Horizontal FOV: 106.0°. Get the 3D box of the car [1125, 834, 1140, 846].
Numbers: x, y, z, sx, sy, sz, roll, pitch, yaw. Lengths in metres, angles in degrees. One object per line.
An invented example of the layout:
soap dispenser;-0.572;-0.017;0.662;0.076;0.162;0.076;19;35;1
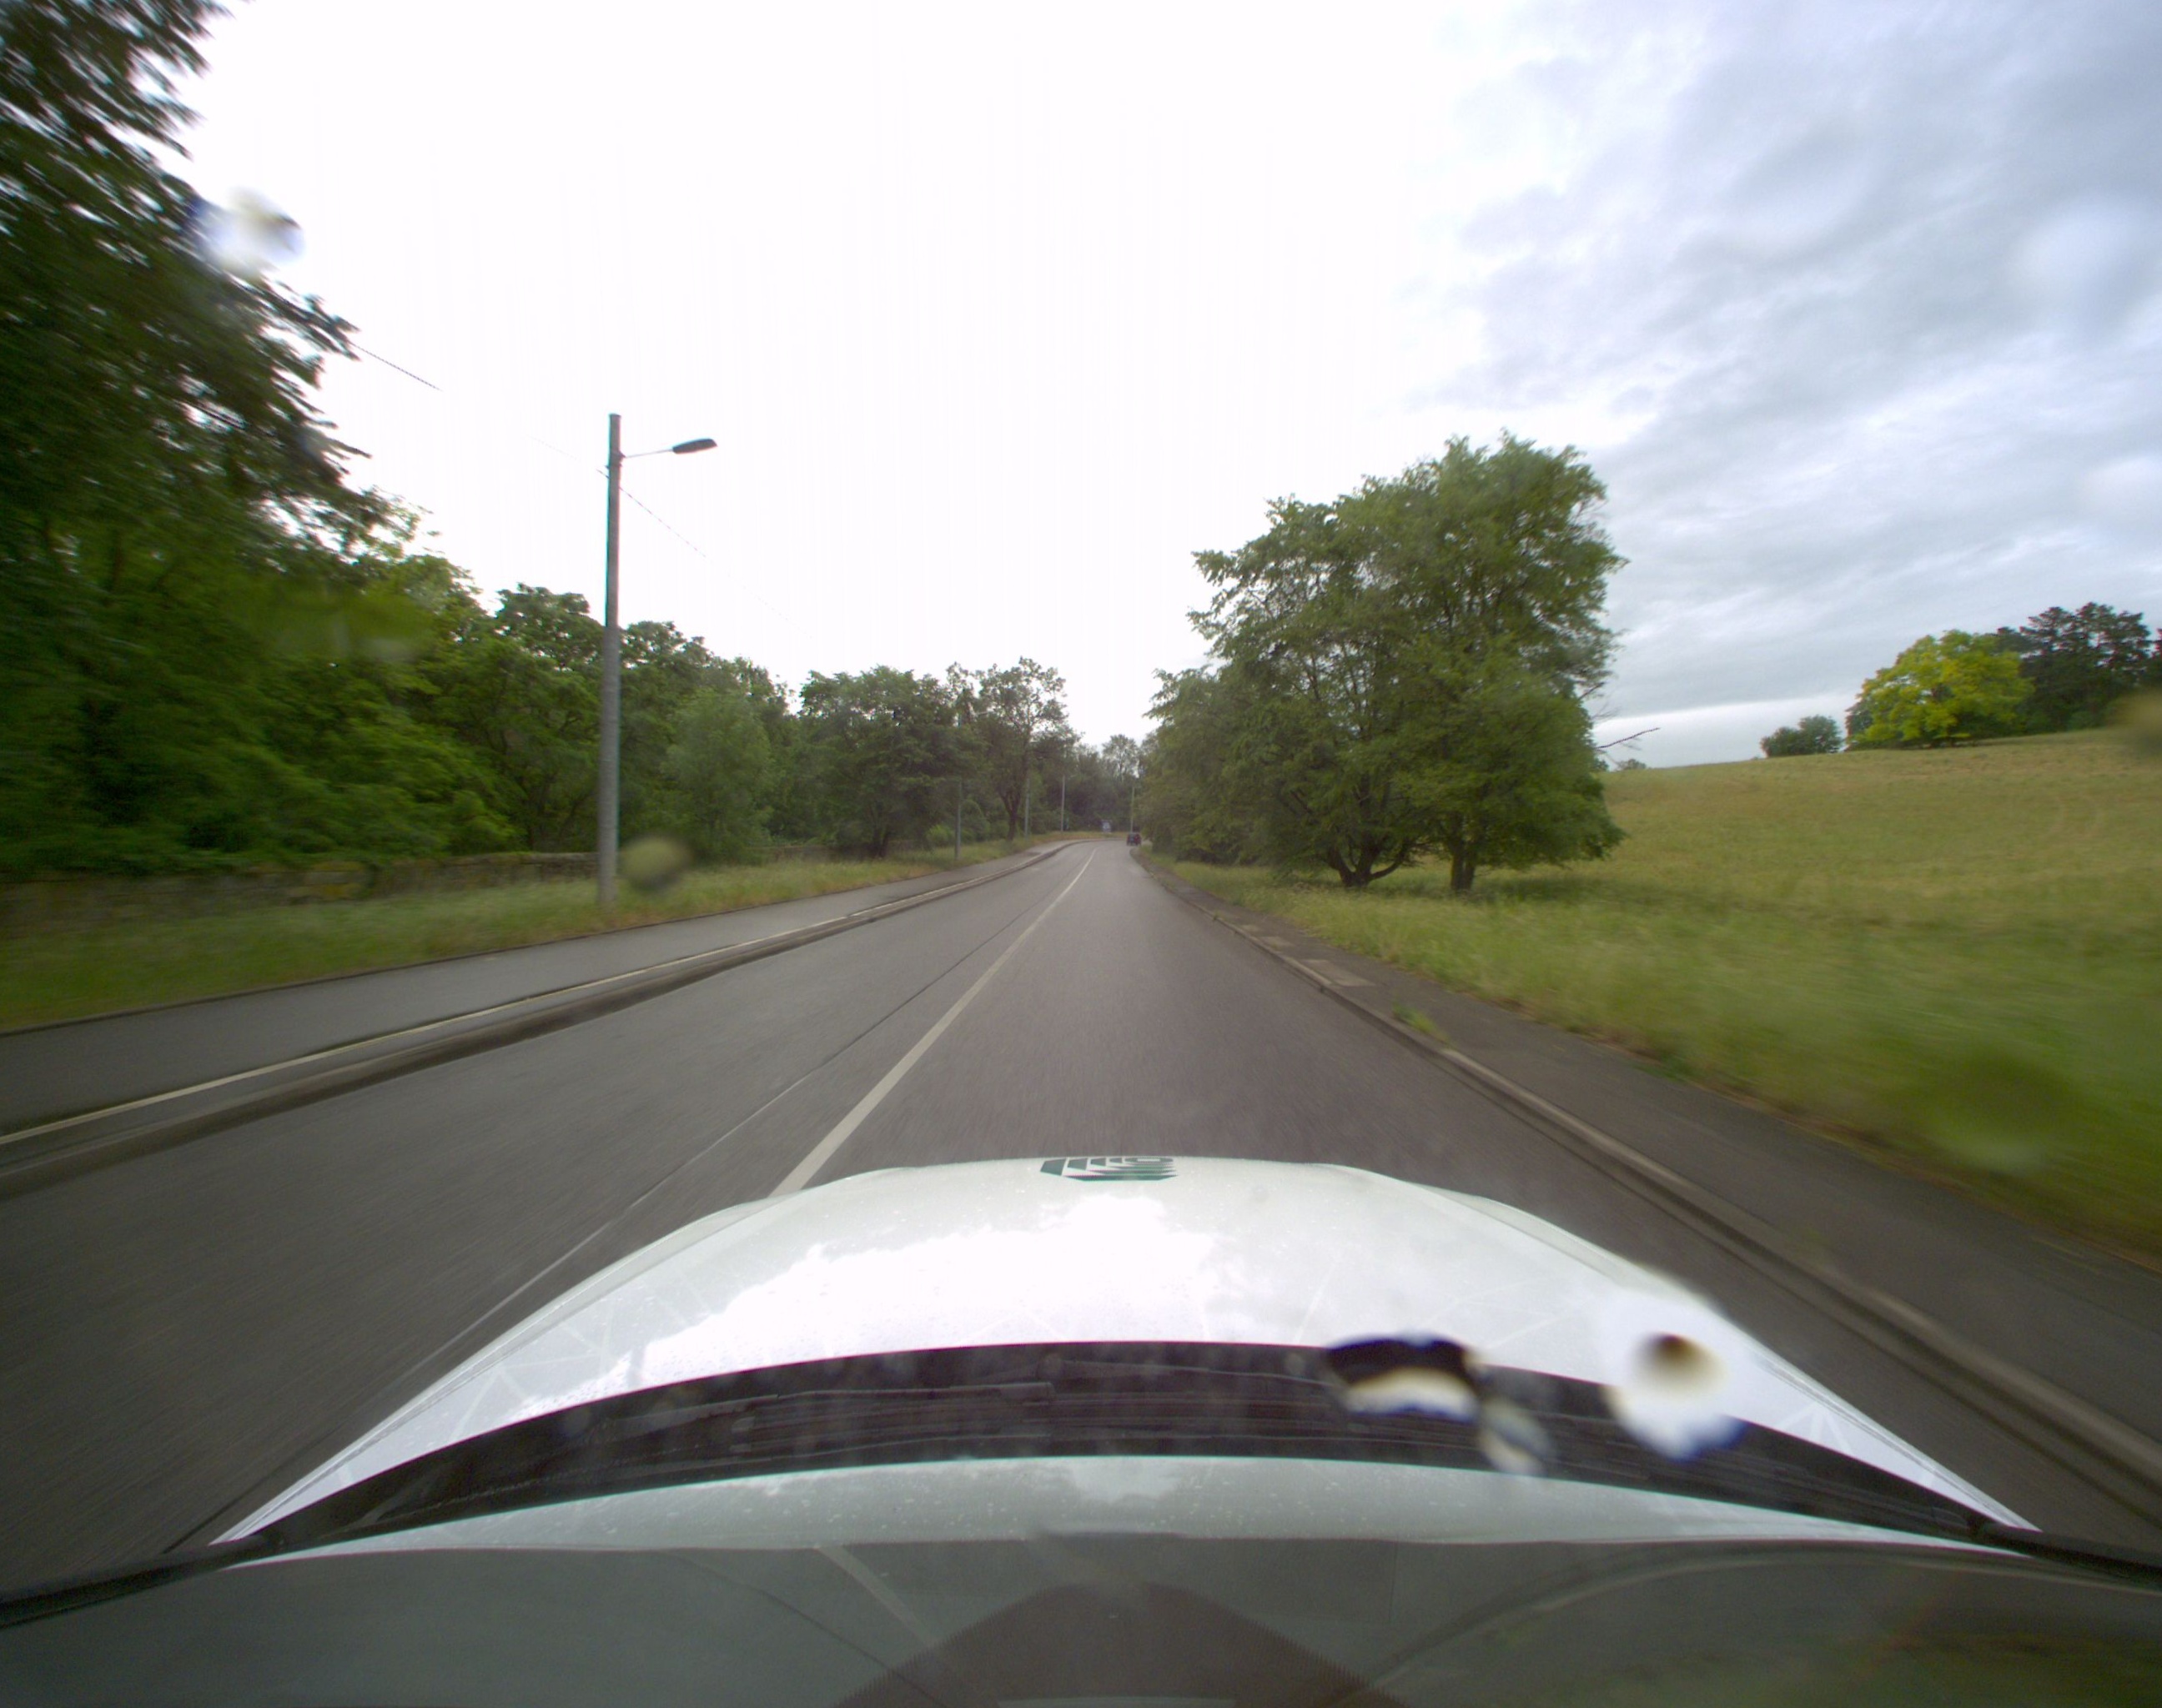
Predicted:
car;7.761;-2.066;122.385;1.730;1.717;4.012;2;0;11
